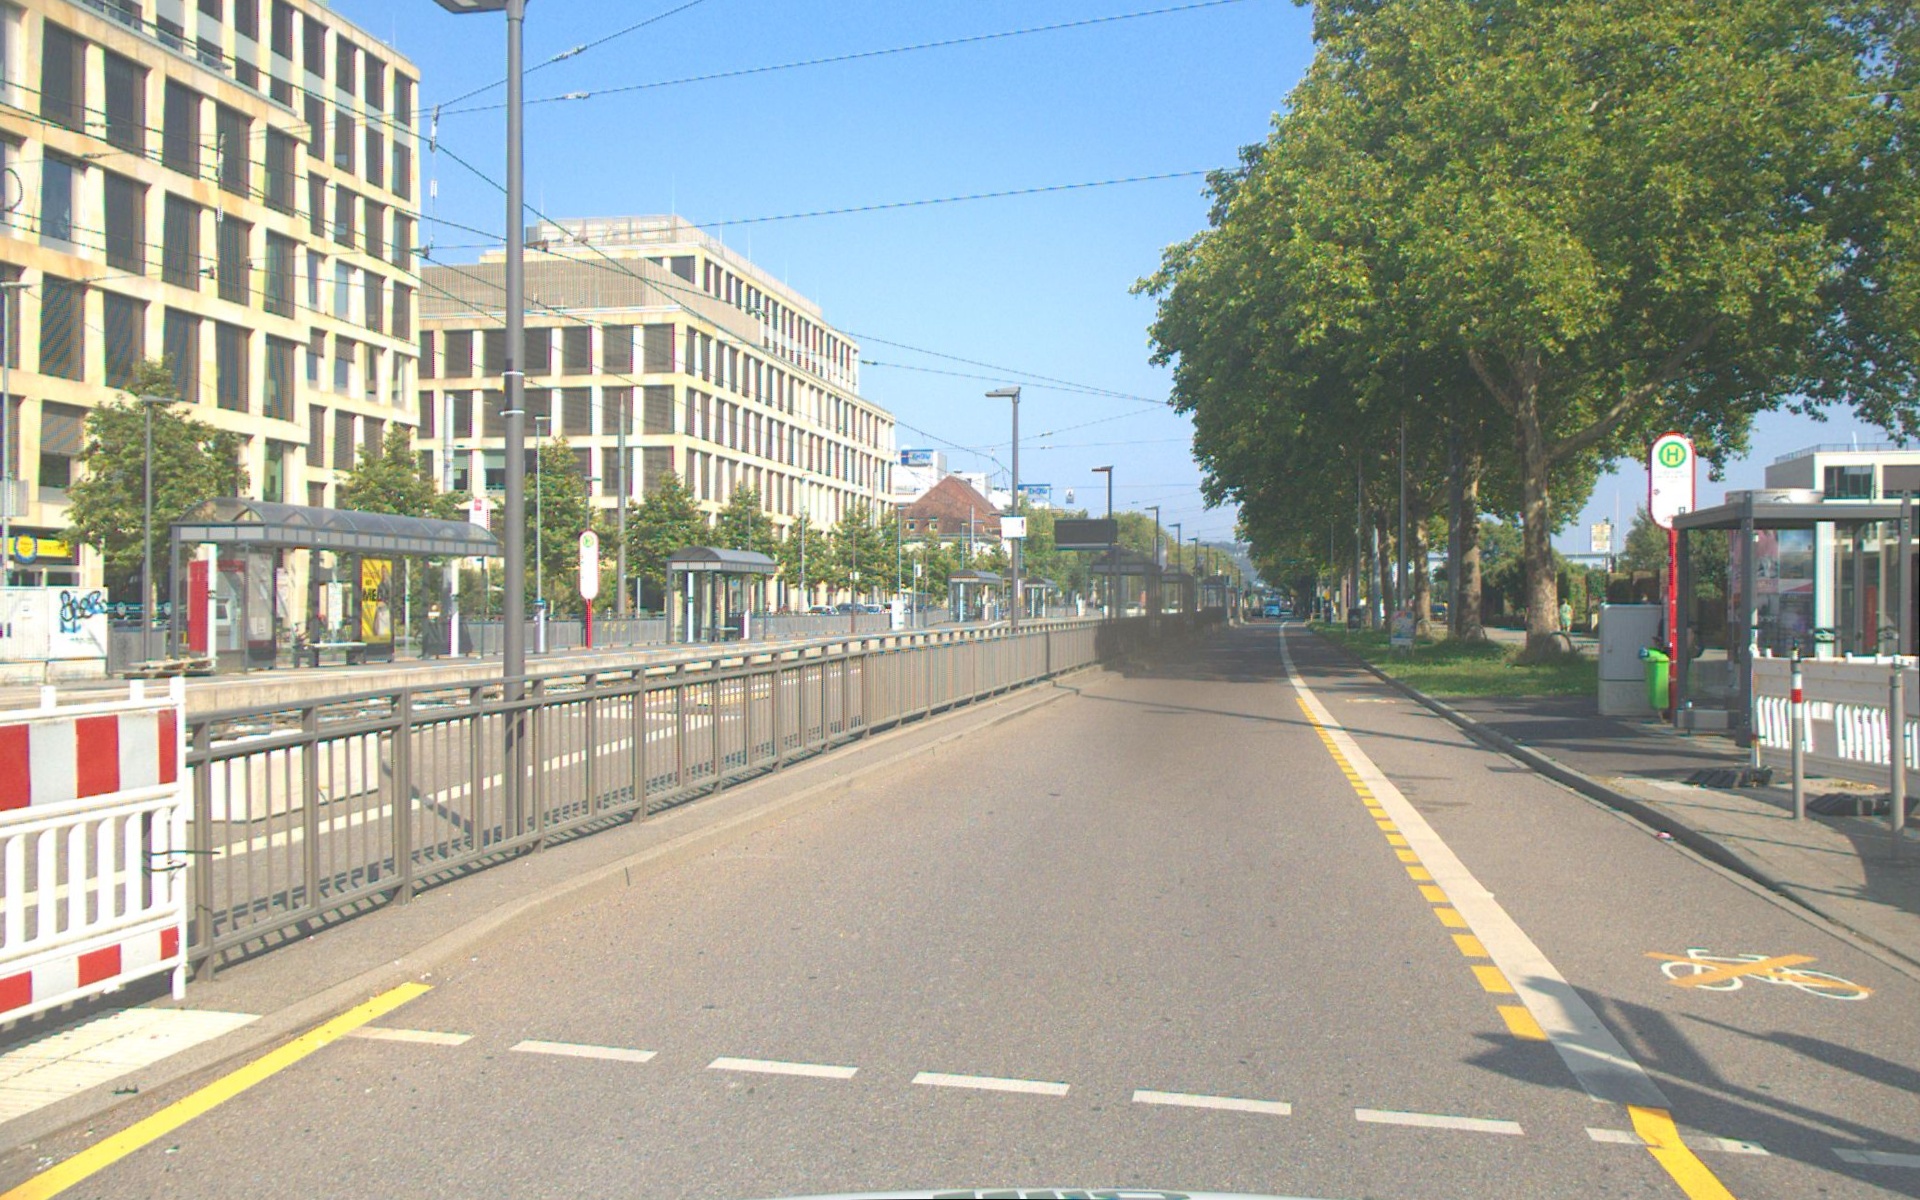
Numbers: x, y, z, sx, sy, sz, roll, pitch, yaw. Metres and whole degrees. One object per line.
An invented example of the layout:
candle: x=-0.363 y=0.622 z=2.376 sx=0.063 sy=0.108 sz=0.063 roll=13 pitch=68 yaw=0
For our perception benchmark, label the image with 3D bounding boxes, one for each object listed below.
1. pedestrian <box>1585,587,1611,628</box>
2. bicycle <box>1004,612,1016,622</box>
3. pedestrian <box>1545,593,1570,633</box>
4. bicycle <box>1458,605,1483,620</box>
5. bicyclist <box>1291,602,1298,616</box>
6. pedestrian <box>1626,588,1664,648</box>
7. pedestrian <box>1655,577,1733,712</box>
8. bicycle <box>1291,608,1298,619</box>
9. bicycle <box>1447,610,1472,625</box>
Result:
pedestrian: x=26.245 y=0.299 z=68.011 sx=0.789 sy=1.632 sz=0.948 roll=-2 pitch=-1 yaw=11
bicycle: x=3.406 y=1.129 z=113.145 sx=0.466 sy=0.674 sz=1.614 roll=0 pitch=0 yaw=15
pedestrian: x=24.748 y=0.554 z=68.555 sx=0.789 sy=1.632 sz=0.948 roll=-2 pitch=-1 yaw=11
bicycle: x=35.819 y=0.906 z=116.082 sx=1.621 sy=0.986 sz=0.506 roll=-2 pitch=-1 yaw=14
bicyclist: x=35.379 y=0.960 z=175.063 sx=0.690 sy=1.486 sz=1.010 roll=1 pitch=-1 yaw=12
pedestrian: x=19.868 y=0.509 z=47.960 sx=0.801 sy=1.716 sz=1.013 roll=-1 pitch=-1 yaw=11
pedestrian: x=9.618 y=0.575 z=21.683 sx=0.675 sy=1.726 sz=0.647 roll=0 pitch=0 yaw=-10
bicycle: x=35.369 y=1.438 z=174.995 sx=0.700 sy=1.127 sz=2.511 roll=1 pitch=-1 yaw=11
bicycle: x=33.787 y=1.172 z=111.858 sx=1.621 sy=0.986 sz=0.506 roll=-2 pitch=-1 yaw=17
